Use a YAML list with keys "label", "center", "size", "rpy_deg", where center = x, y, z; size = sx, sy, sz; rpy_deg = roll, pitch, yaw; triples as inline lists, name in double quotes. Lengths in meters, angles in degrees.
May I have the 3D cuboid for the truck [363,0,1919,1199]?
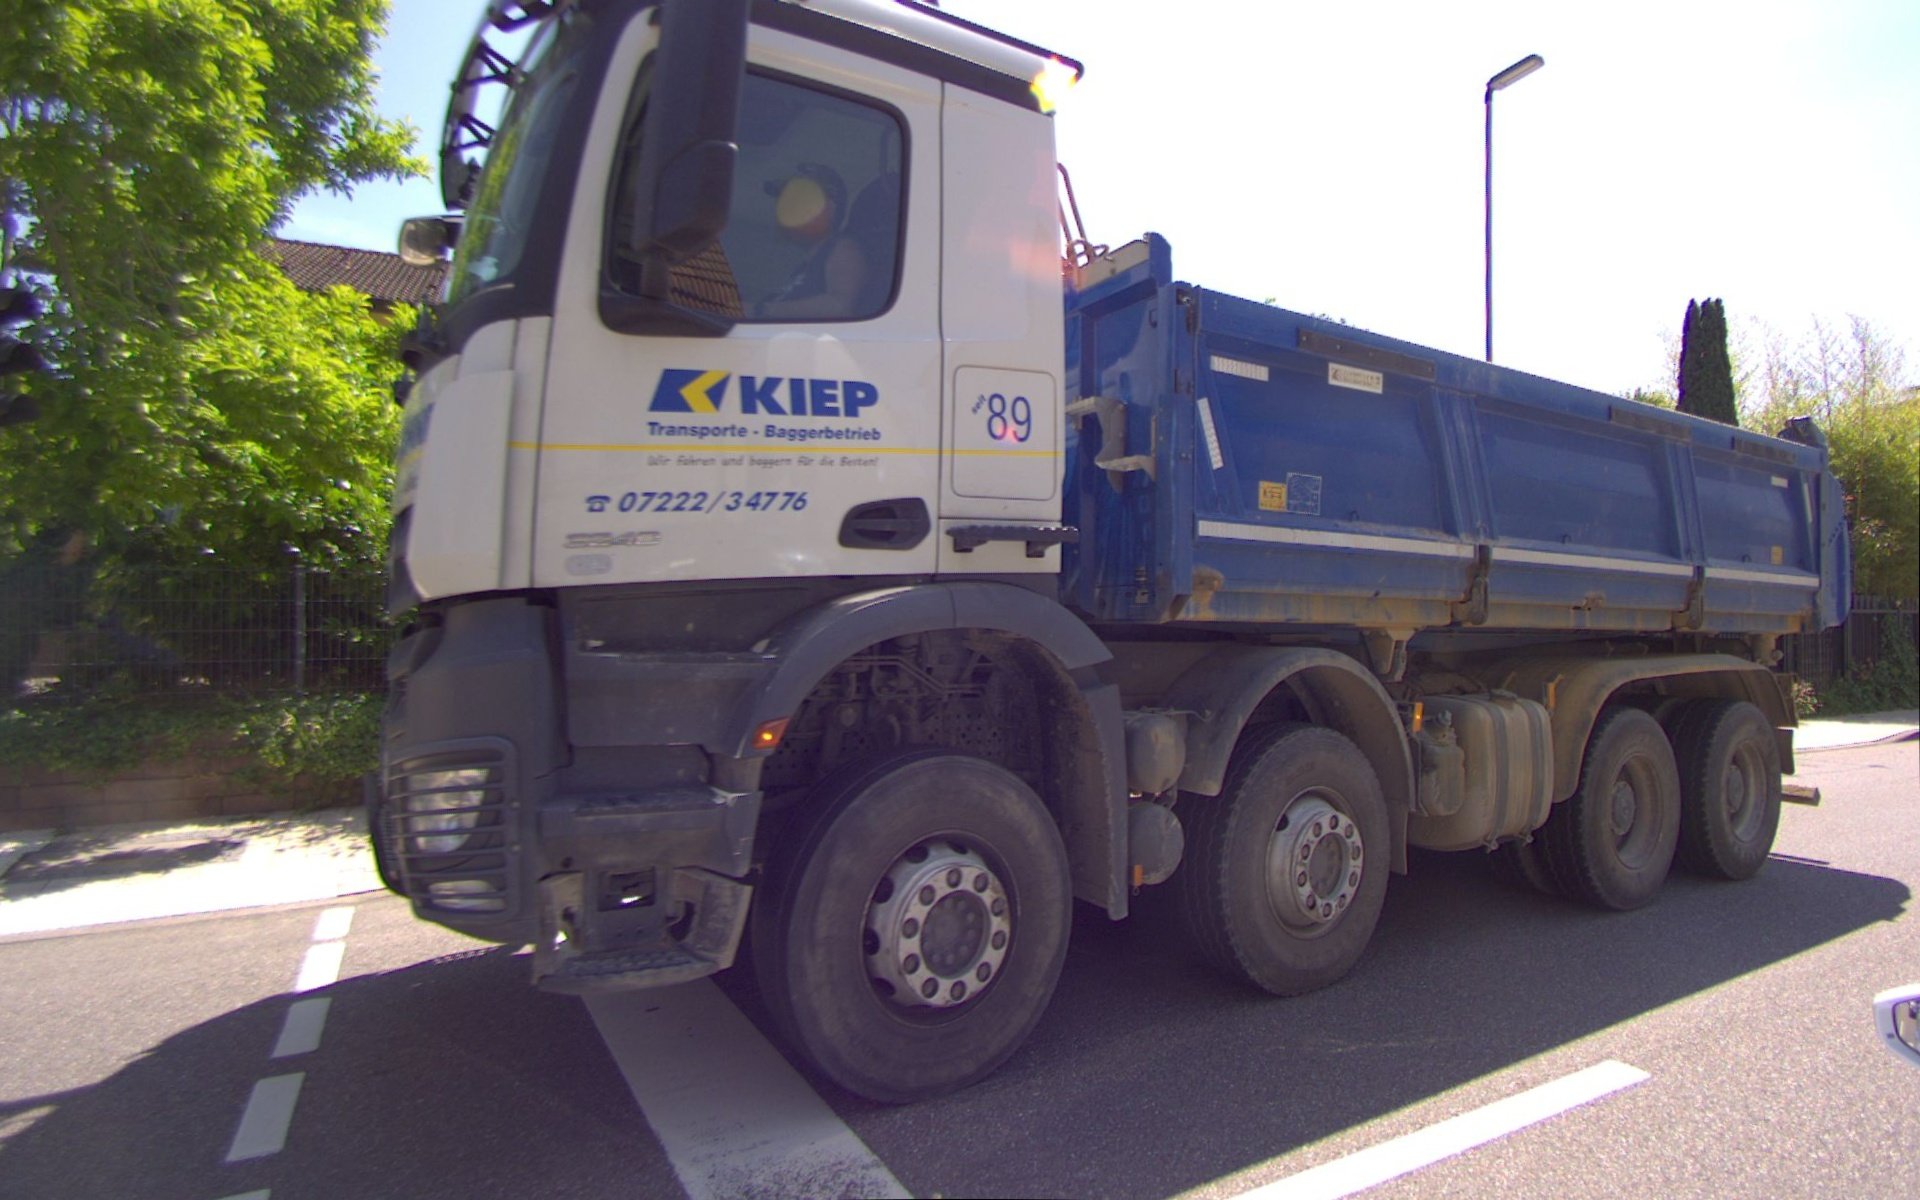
- label: "truck"
  center: [1.817, -0.268, 5.517]
  size: [8.510, 3.787, 2.533]
  rpy_deg: [1, -2, -27]
